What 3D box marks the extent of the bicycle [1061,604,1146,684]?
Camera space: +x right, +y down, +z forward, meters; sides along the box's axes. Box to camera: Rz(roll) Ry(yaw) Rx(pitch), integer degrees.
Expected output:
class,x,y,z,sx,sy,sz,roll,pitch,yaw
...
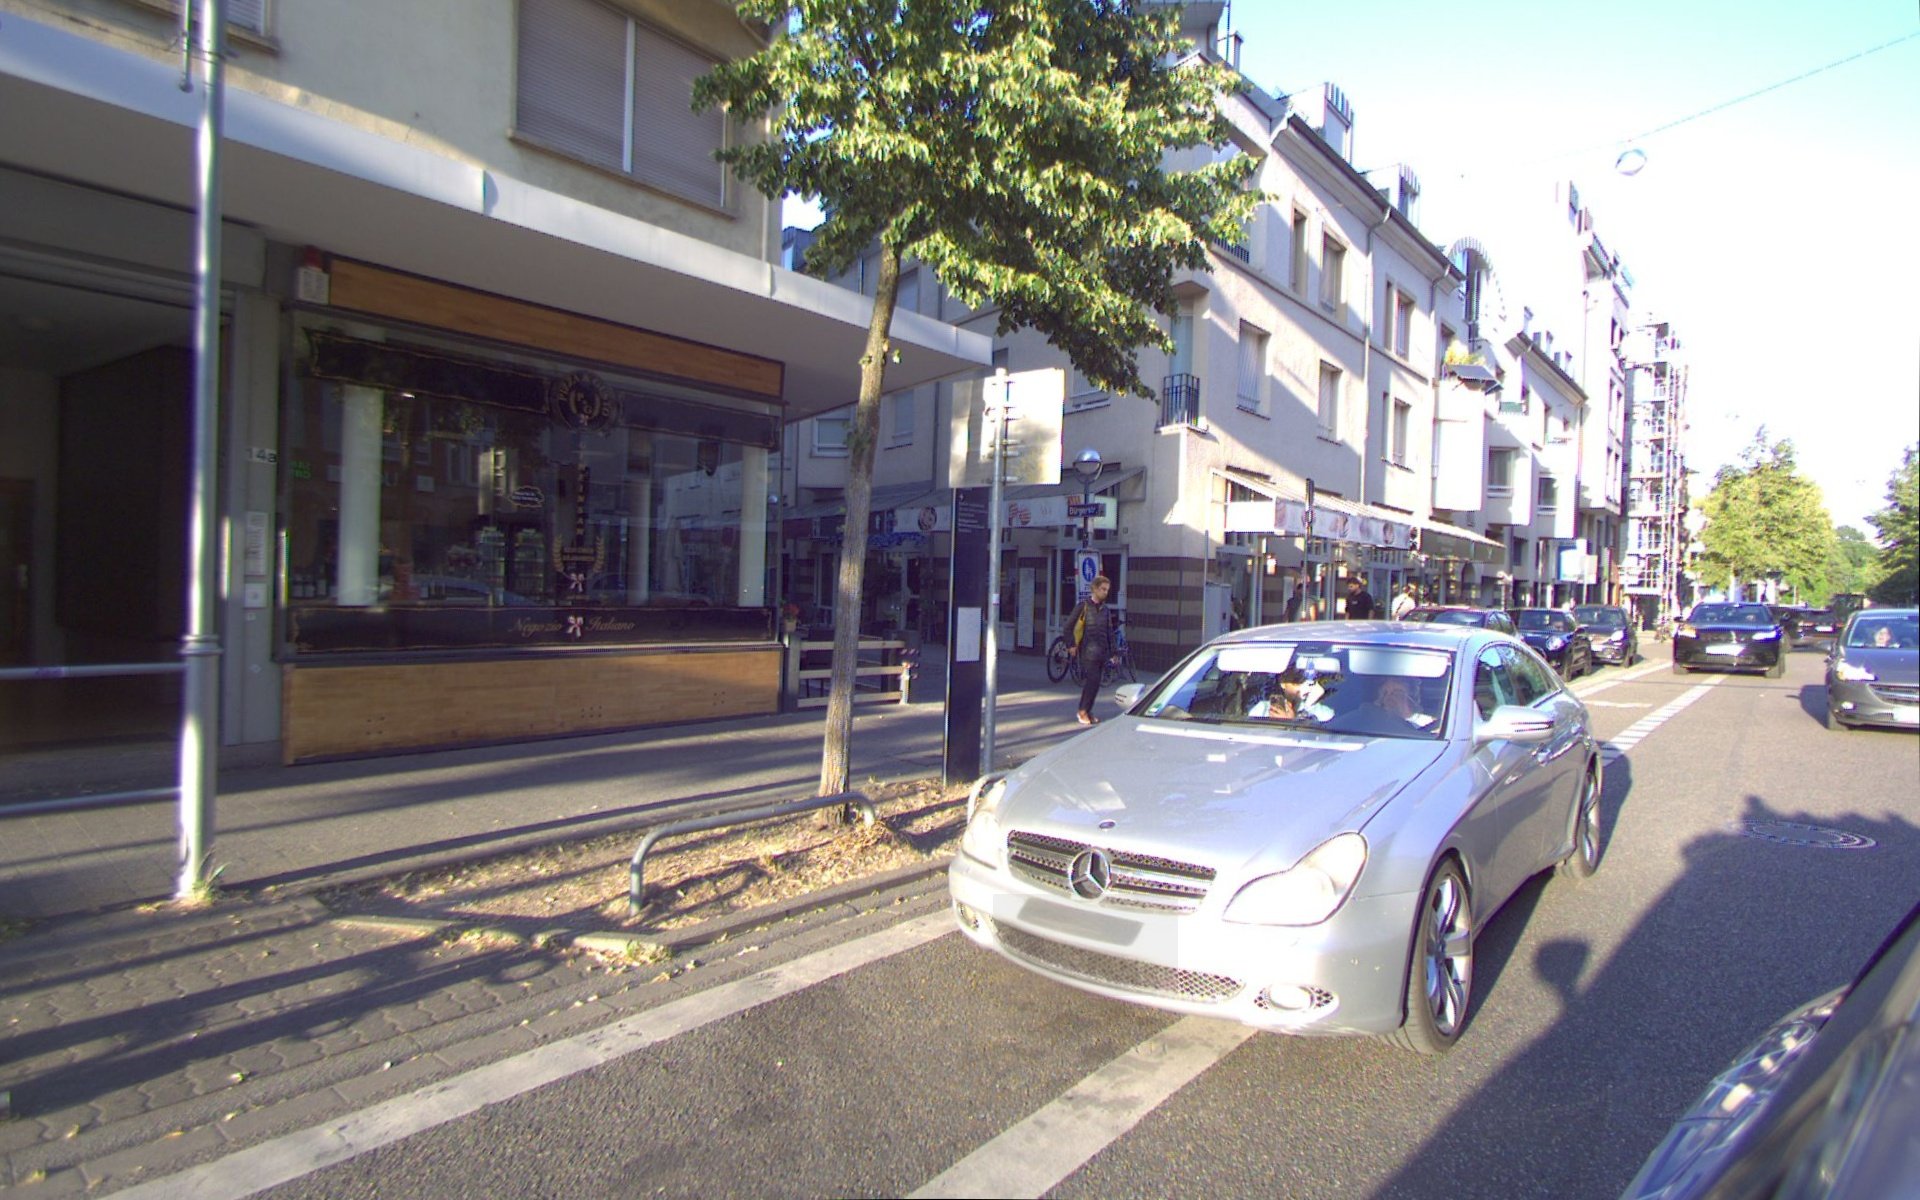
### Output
class,x,y,z,sx,sy,sz,roll,pitch,yaw
bicycle,2.200,0.636,15.351,0.290,1.118,1.859,2,1,41

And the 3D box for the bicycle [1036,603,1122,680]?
class,x,y,z,sx,sy,sz,roll,pitch,yaw
bicycle,1.871,0.612,15.708,0.320,1.118,1.851,2,1,41

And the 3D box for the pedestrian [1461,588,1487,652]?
class,x,y,z,sx,sy,sz,roll,pitch,yaw
pedestrian,14.709,0.558,28.960,0.574,1.823,0.443,0,0,42

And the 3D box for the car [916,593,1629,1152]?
class,x,y,z,sx,sy,sz,roll,pitch,yaw
car,1.960,0.709,5.013,1.740,1.418,4.572,1,2,40

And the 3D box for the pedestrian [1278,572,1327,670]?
class,x,y,z,sx,sy,sz,roll,pitch,yaw
pedestrian,6.412,0.381,18.942,0.629,1.771,0.660,3,2,41

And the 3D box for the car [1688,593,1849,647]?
class,x,y,z,sx,sy,sz,roll,pitch,yaw
car,28.834,0.672,36.202,1.707,1.696,4.286,1,2,-43

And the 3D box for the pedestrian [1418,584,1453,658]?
class,x,y,z,sx,sy,sz,roll,pitch,yaw
pedestrian,10.724,0.473,22.821,0.519,1.612,0.402,5,3,41

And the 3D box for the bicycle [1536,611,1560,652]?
class,x,y,z,sx,sy,sz,roll,pitch,yaw
bicycle,16.264,0.859,27.992,0.295,1.099,1.441,1,1,41

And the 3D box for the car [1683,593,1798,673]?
class,x,y,z,sx,sy,sz,roll,pitch,yaw
car,17.951,0.685,23.194,1.884,1.656,4.165,0,0,41

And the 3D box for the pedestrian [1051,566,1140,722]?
class,x,y,z,sx,sy,sz,roll,pitch,yaw
pedestrian,1.534,0.482,11.554,0.688,1.696,0.799,2,2,-13

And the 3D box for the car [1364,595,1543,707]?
class,x,y,z,sx,sy,sz,roll,pitch,yaw
car,7.788,0.697,15.794,1.587,1.451,3.868,4,2,40

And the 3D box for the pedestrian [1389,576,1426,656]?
class,x,y,z,sx,sy,sz,roll,pitch,yaw
pedestrian,10.201,0.358,23.054,0.543,1.779,0.495,5,3,41

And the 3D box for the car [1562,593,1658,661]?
class,x,y,z,sx,sy,sz,roll,pitch,yaw
car,17.149,0.667,26.631,1.615,1.612,3.868,2,1,40

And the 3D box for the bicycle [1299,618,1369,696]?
class,x,y,z,sx,sy,sz,roll,pitch,yaw
bicycle,5.519,0.812,14.889,0.314,1.059,1.638,3,2,43

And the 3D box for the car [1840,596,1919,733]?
class,x,y,z,sx,sy,sz,roll,pitch,yaw
car,11.789,0.710,12.289,1.616,1.492,3.634,0,0,41

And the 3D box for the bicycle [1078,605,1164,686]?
class,x,y,z,sx,sy,sz,roll,pitch,yaw
bicycle,2.434,0.646,15.145,0.320,1.118,1.851,2,1,41

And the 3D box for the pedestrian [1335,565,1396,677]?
class,x,y,z,sx,sy,sz,roll,pitch,yaw
pedestrian,7.122,0.366,17.771,0.776,1.907,0.660,-2,-2,41

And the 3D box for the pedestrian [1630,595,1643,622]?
class,x,y,z,sx,sy,sz,roll,pitch,yaw
pedestrian,33.216,0.409,49.684,0.490,1.279,0.415,0,0,42

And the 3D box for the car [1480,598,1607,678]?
class,x,y,z,sx,sy,sz,roll,pitch,yaw
car,12.244,0.714,21.116,1.615,1.452,3.868,3,2,40

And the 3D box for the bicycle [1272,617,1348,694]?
class,x,y,z,sx,sy,sz,roll,pitch,yaw
bicycle,5.244,0.799,15.104,0.314,1.059,1.853,3,2,43
